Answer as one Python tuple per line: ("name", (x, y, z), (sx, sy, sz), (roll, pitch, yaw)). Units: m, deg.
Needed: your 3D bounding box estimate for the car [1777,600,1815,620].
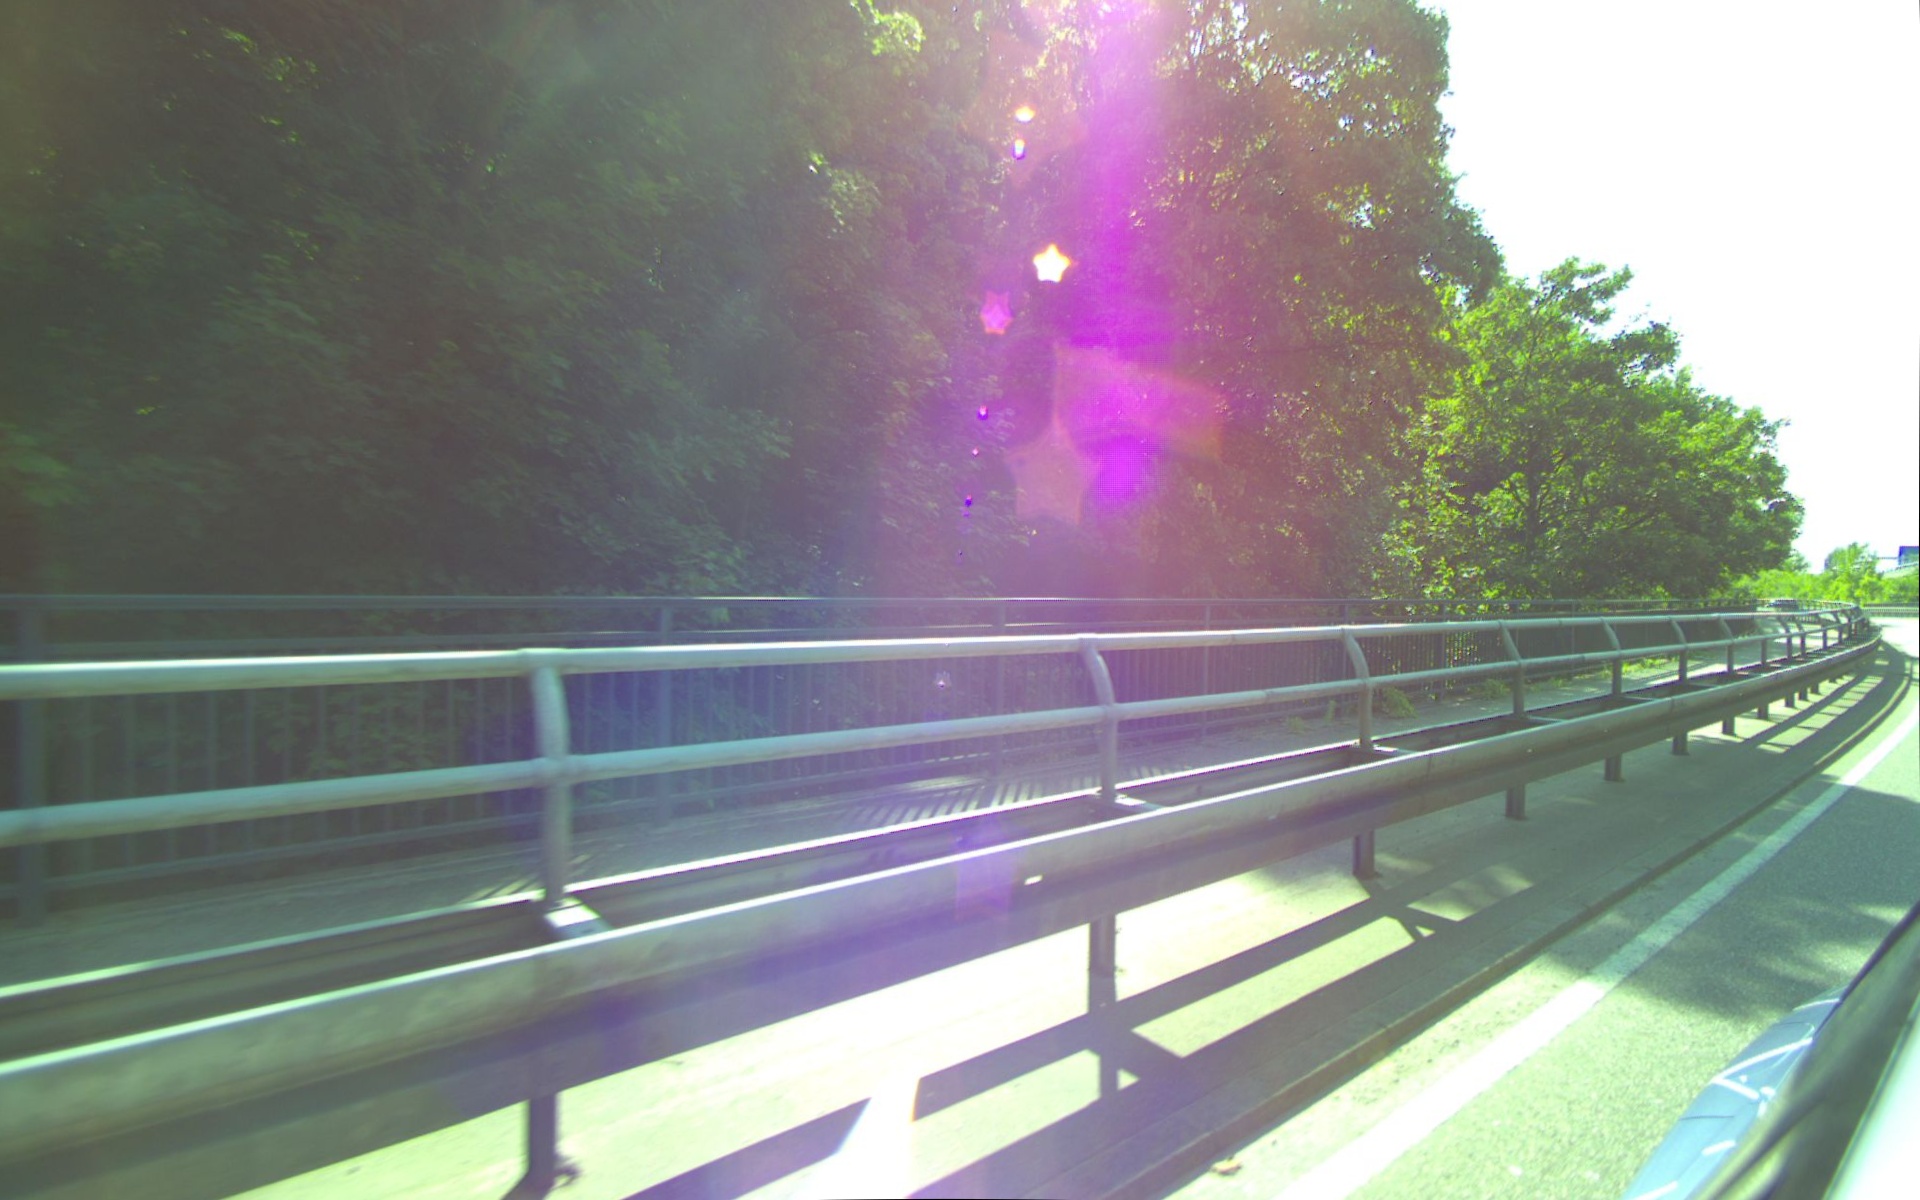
("car", (73.707, 0.875, 89.274), (1.889, 1.600, 4.506), (0, 1, 31))
